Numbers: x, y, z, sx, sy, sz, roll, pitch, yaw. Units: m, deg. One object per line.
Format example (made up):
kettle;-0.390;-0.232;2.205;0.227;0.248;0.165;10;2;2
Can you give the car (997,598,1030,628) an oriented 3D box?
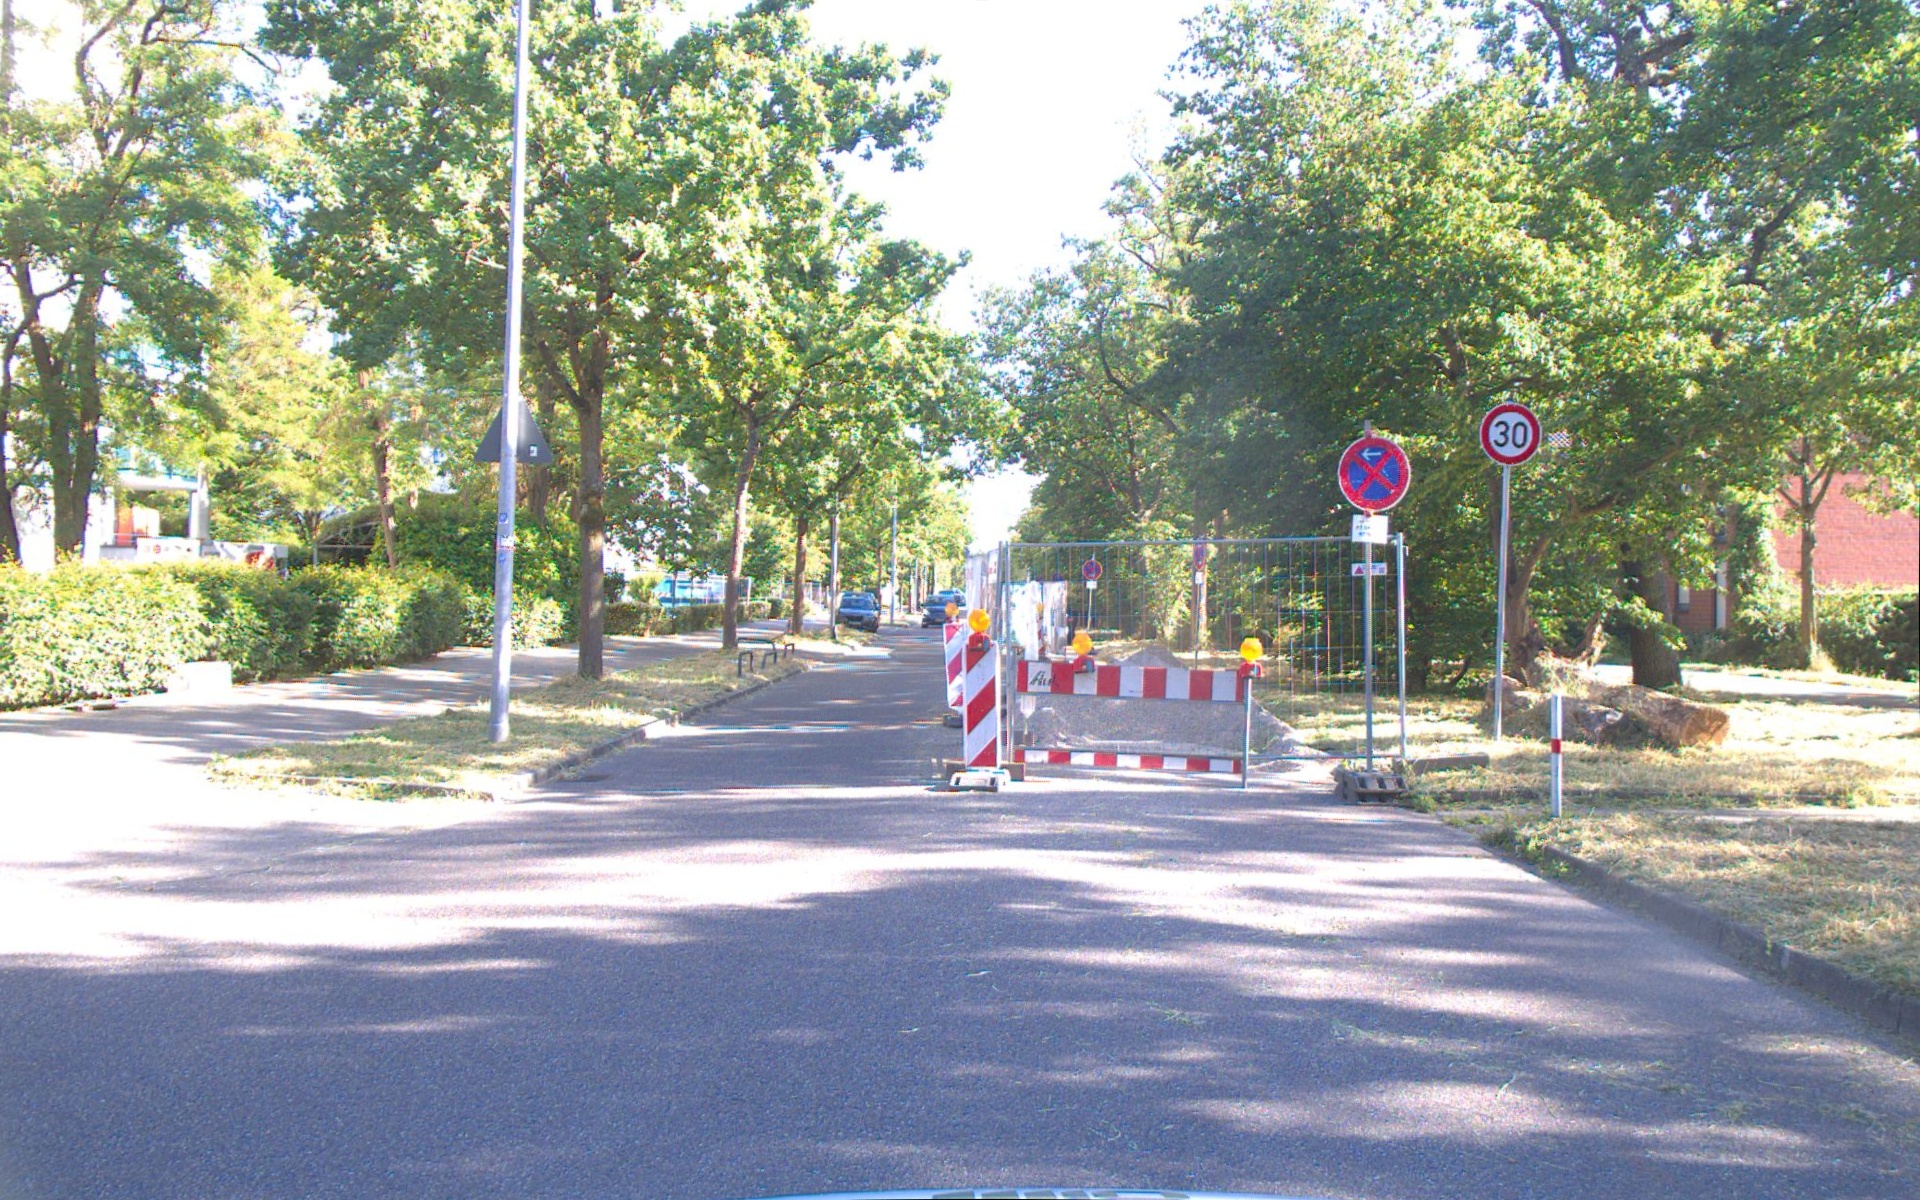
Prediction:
car;2.517;0.636;78.050;1.334;1.325;3.480;2;-1;-2

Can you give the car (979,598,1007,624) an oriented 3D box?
car;1.803;0.623;91.023;1.334;1.325;3.480;2;-1;-2

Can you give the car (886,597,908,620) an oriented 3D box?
car;-3.928;0.548;103.612;1.334;1.325;3.480;2;-1;-2

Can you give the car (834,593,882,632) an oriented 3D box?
car;-4.188;0.505;68.328;1.715;1.504;3.836;1;0;-1

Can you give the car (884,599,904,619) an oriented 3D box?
car;-4.603;0.664;115.345;1.334;1.325;3.480;2;-1;-2

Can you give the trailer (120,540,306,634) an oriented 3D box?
trailer;-17.548;-0.292;39.111;1.934;2.078;4.433;1;0;7
